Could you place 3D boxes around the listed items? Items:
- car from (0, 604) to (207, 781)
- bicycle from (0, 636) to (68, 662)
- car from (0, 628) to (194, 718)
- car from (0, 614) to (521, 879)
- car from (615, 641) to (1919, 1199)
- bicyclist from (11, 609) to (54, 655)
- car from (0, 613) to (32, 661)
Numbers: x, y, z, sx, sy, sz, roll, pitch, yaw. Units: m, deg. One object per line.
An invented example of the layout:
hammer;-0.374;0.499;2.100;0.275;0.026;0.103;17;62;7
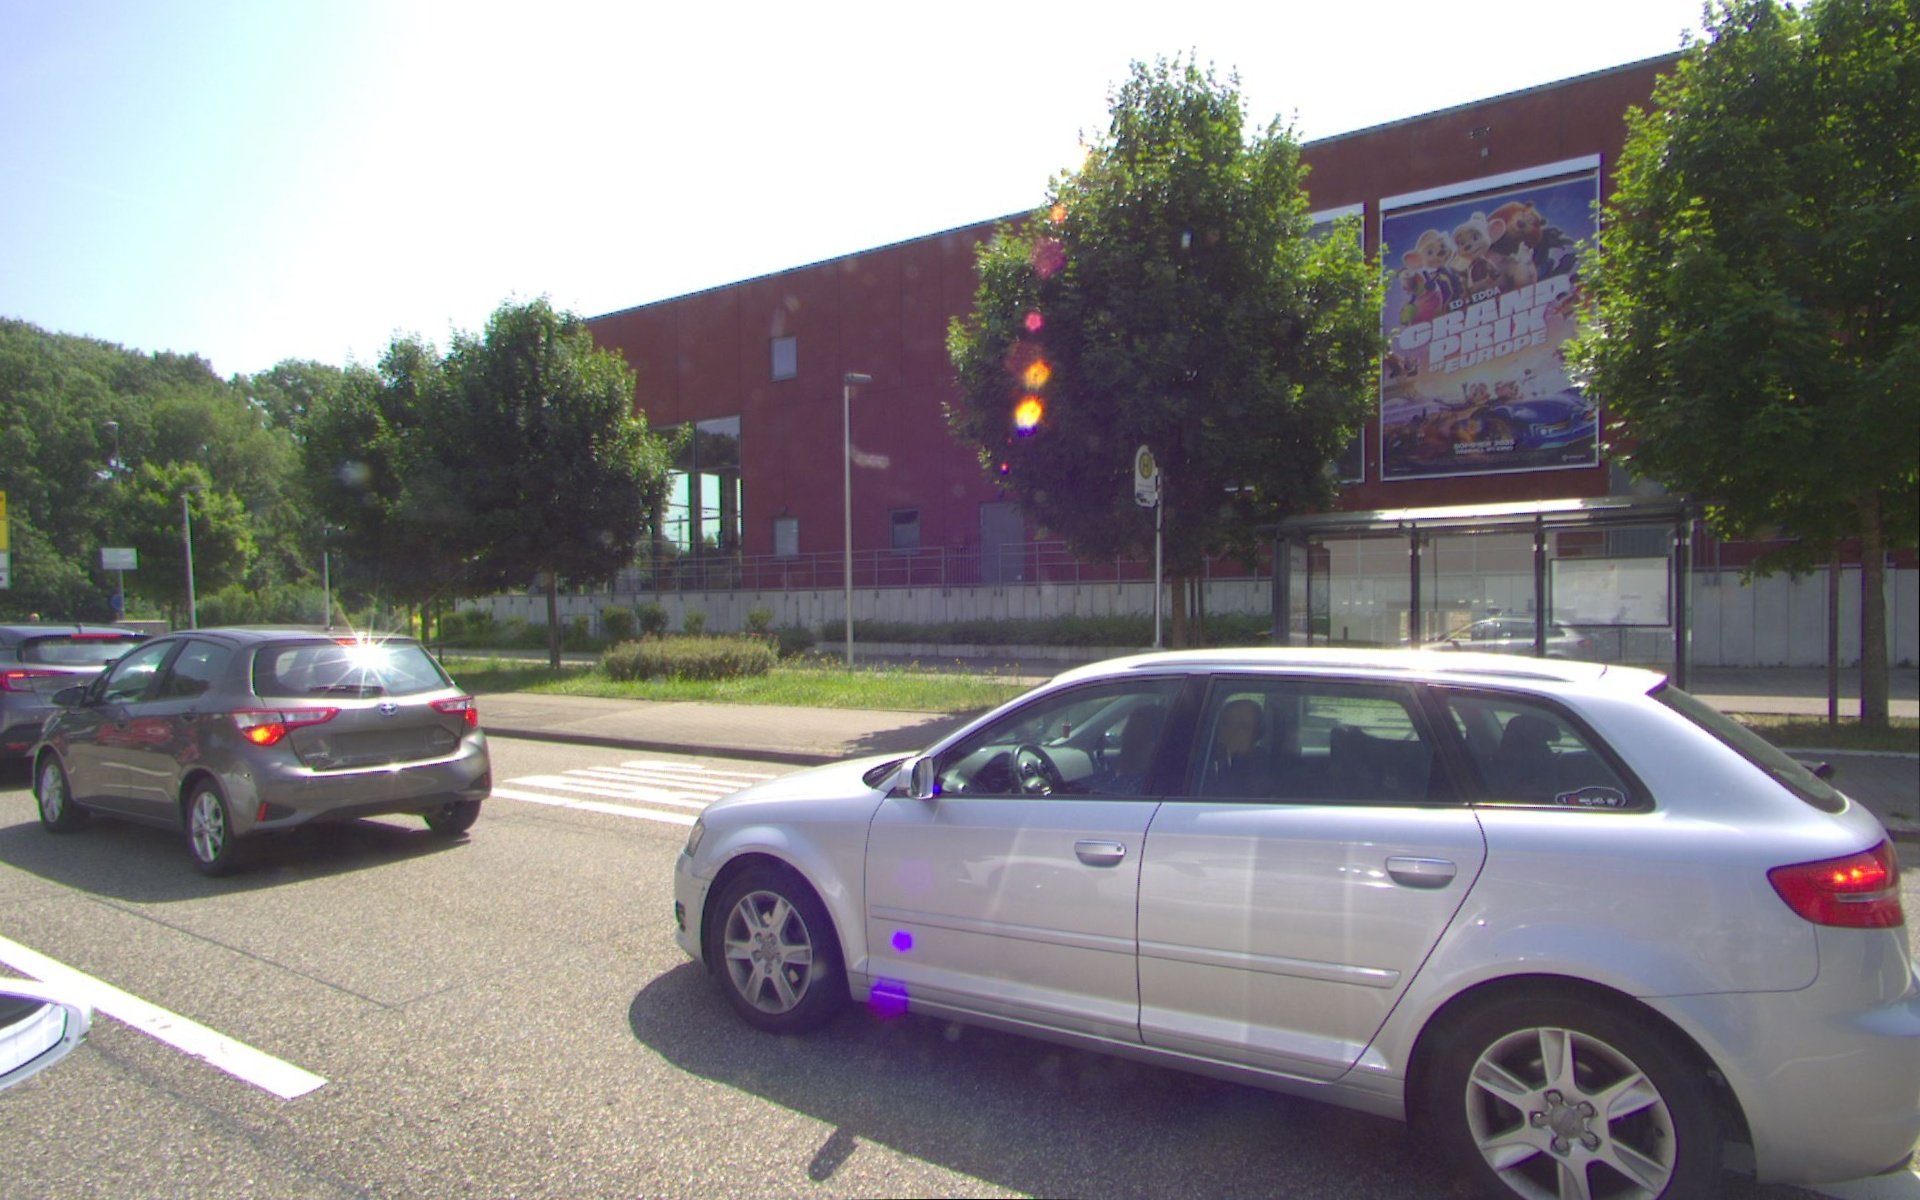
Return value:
car;-10.100;0.882;10.849;4.031;1.614;1.709;-1;-1;31
bicycle;-30.231;1.587;32.527;1.794;0.776;0.600;-1;1;-14
car;-15.227;1.199;17.492;4.086;1.388;1.635;0;-2;33
car;-5.315;0.903;7.439;4.031;1.496;1.711;-1;-4;31
car;0.776;0.863;3.744;4.031;1.379;1.710;-1;-2;31
bicyclist;-30.137;1.026;32.547;0.814;1.458;0.598;-1;1;-14
car;-42.730;1.618;42.980;1.975;2.040;3.970;0;0;38
